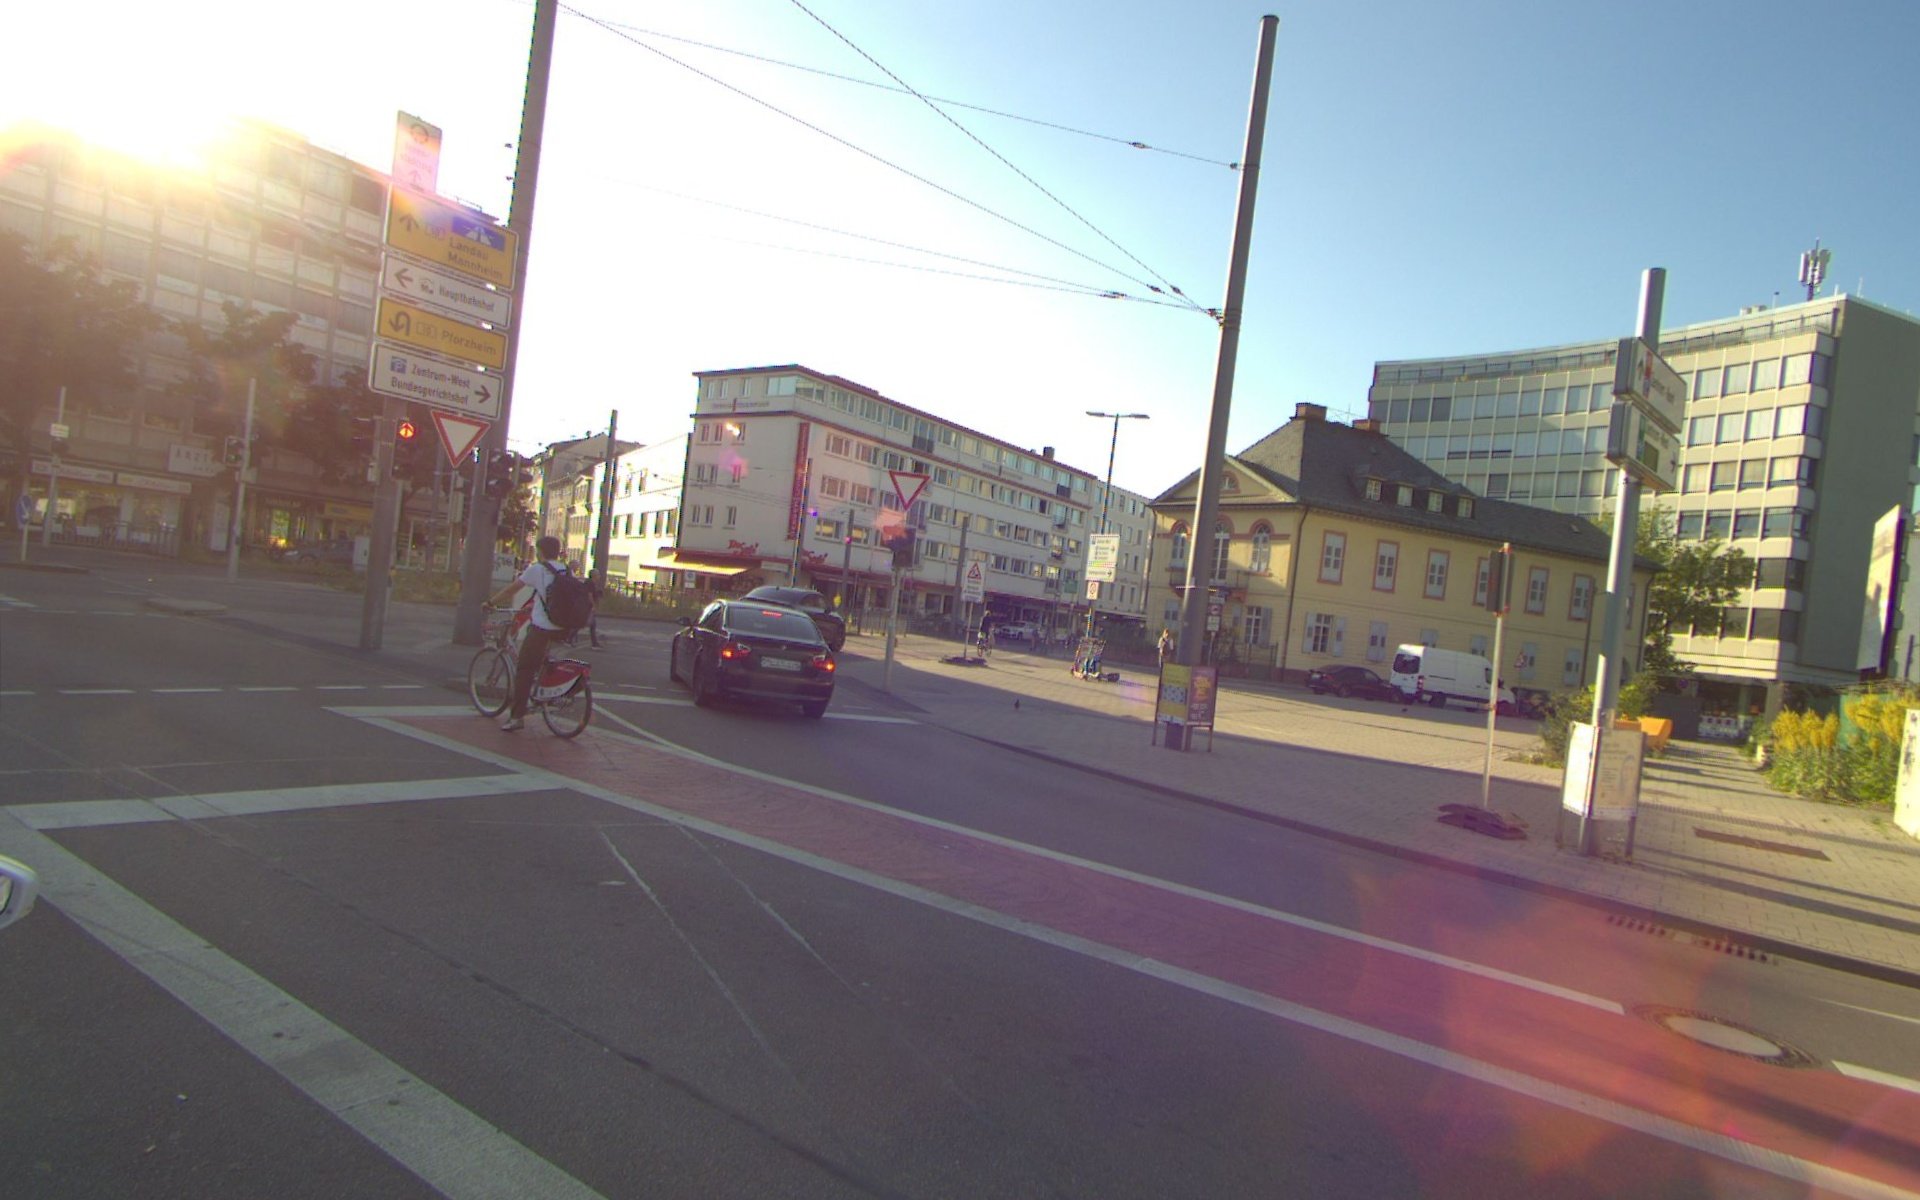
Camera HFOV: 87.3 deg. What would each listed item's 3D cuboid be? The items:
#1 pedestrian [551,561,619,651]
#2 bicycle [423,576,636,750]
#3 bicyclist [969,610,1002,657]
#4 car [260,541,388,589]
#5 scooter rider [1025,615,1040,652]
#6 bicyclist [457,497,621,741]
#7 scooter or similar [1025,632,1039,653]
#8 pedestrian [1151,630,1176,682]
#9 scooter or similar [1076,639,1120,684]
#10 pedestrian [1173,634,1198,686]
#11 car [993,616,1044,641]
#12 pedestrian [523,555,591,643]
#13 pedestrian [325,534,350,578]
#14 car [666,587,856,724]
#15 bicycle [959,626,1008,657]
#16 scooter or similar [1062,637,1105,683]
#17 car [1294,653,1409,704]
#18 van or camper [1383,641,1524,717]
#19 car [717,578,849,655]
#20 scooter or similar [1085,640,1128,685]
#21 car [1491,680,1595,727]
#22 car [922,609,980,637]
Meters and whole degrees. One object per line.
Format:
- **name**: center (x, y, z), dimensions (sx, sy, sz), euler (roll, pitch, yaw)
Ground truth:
- **pedestrian**: center (-7.175, 0.119, 19.260), dimensions (0.644, 1.617, 0.879), euler (7, 1, 30)
- **bicycle**: center (-3.974, 0.550, 9.220), dimensions (2.014, 1.237, 0.645), euler (9, 0, 33)
- **bicyclist**: center (1.004, 1.294, 38.886), dimensions (0.680, 1.682, 0.959), euler (7, 0, 35)
- **car**: center (-26.605, -1.442, 42.195), dimensions (1.969, 1.437, 3.989), euler (7, -1, 35)
- **scooter rider**: center (3.937, 1.820, 54.702), dimensions (0.492, 1.943, 0.533), euler (7, 1, -3)
- **bicyclist**: center (-3.845, 0.168, 9.183), dimensions (1.049, 2.037, 0.644), euler (9, 0, 33)
- **scooter or similar**: center (3.901, 2.291, 54.654), dimensions (0.485, 1.046, 1.386), euler (7, 0, -3)
- **pedestrian**: center (7.585, 2.086, 37.491), dimensions (0.587, 1.847, 0.728), euler (7, 1, 23)
- **scooter or similar**: center (4.343, 1.930, 31.750), dimensions (0.563, 1.274, 1.334), euler (6, 0, -28)
- **pedestrian**: center (8.353, 2.211, 37.210), dimensions (0.587, 1.847, 0.728), euler (7, 1, 23)
- **car**: center (4.881, 2.373, 82.979), dimensions (1.971, 1.597, 4.307), euler (7, -1, 39)
- **pedestrian**: center (-7.892, -0.012, 19.728), dimensions (0.644, 1.617, 0.879), euler (7, 1, 30)
- **pedestrian**: center (-30.639, -2.159, 49.509), dimensions (0.549, 2.038, 0.707), euler (7, 1, 35)
- **car**: center (-2.936, 0.679, 14.135), dimensions (1.726, 1.443, 3.979), euler (7, -1, -23)
- **bicycle**: center (0.937, 1.613, 38.859), dimensions (0.671, 1.039, 2.227), euler (7, -1, 35)
- **scooter or similar**: center (3.848, 1.853, 31.433), dimensions (0.563, 1.274, 1.334), euler (6, 0, -28)
- **car**: center (16.599, 3.313, 42.695), dimensions (4.101, 1.593, 1.992), euler (7, 0, -18)
- **van or camper**: center (21.884, 3.509, 44.632), dimensions (5.524, 2.668, 1.992), euler (7, 0, -18)
- **car**: center (-4.877, 0.536, 28.344), dimensions (1.962, 1.713, 4.004), euler (8, -1, 15)
- **scooter or similar**: center (4.702, 1.997, 32.366), dimensions (0.563, 1.274, 1.334), euler (6, 0, -28)
- **car**: center (27.104, 4.823, 46.798), dimensions (3.941, 1.593, 1.992), euler (7, 0, -18)
- **car**: center (-0.661, 1.759, 75.233), dimensions (1.971, 1.597, 4.307), euler (7, -1, 39)
